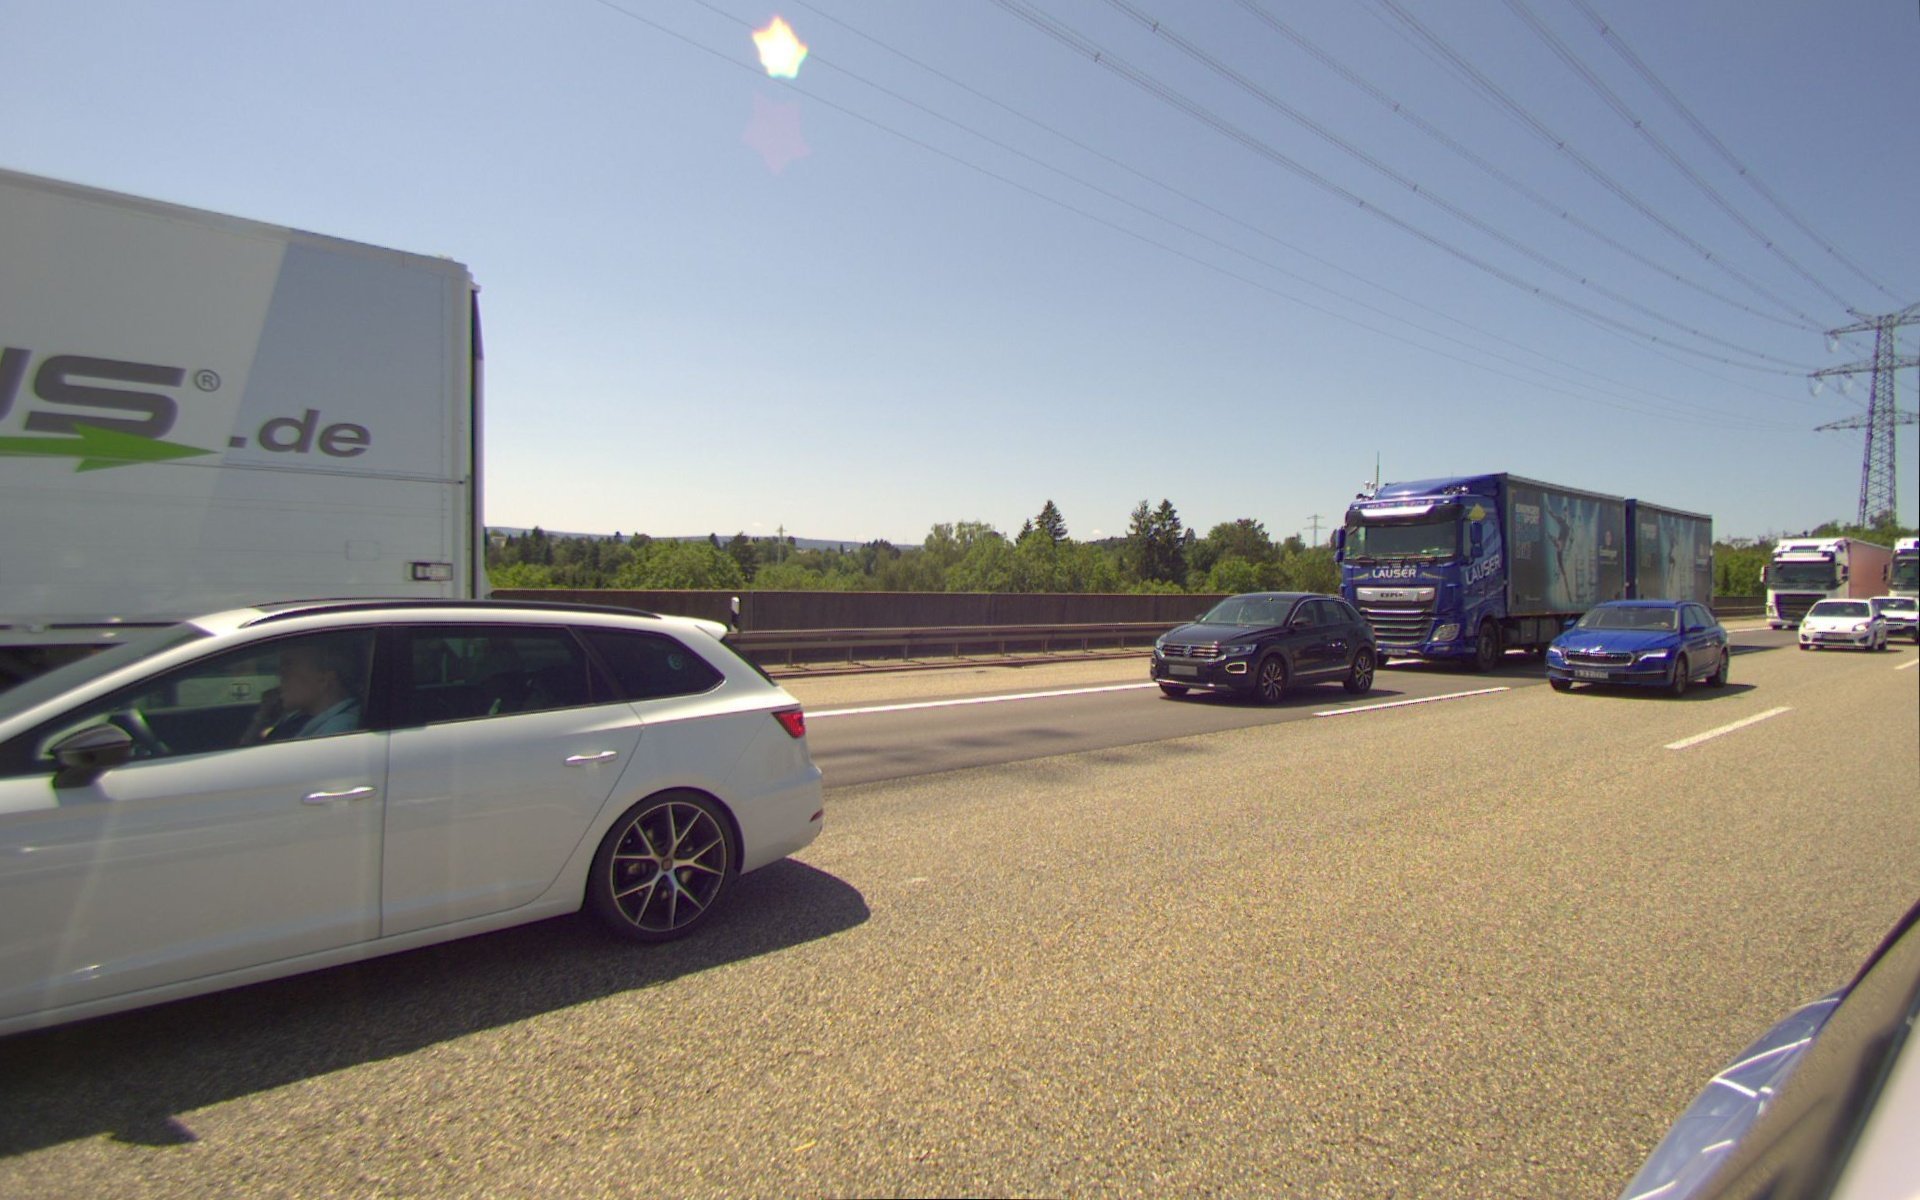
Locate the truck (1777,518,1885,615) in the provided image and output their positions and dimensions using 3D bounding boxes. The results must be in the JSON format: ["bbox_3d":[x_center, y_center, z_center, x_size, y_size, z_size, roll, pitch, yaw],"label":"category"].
[{"bbox_3d":[39.311,-1.434,45.573,8.122,4.038,2.606,-1,0,-42],"label":"truck"}]

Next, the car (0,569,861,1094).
[{"bbox_3d":[-2.655,0.647,4.007,4.352,1.470,1.711,0,0,-42],"label":"car"}]

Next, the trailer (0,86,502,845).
[{"bbox_3d":[-7.098,-0.685,5.311,8.072,3.940,2.903,-1,0,-42],"label":"trailer"}]

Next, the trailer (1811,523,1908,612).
[{"bbox_3d":[45.654,-1.584,51.270,8.928,4.170,2.606,-1,0,-42],"label":"trailer"}]

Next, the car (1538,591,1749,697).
[{"bbox_3d":[11.186,0.609,16.444,4.483,1.470,1.711,-1,0,-40],"label":"car"}]

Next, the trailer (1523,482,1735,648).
[{"bbox_3d":[19.344,-0.925,28.993,8.486,4.140,2.833,-1,0,-41],"label":"trailer"}]

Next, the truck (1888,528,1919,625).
[{"bbox_3d":[41.992,-0.997,42.861,8.117,3.874,2.848,-1,0,-39],"label":"truck"}]

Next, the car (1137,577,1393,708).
[{"bbox_3d":[4.594,0.519,14.971,4.045,1.675,1.711,-1,0,-40],"label":"car"}]

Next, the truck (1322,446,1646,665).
[{"bbox_3d":[12.190,-0.882,22.865,10.211,3.999,2.857,-1,0,-40],"label":"truck"}]

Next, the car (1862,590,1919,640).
[{"bbox_3d":[30.946,0.440,33.033,4.071,1.529,1.711,-1,0,-40],"label":"car"}]

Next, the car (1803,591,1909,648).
[{"bbox_3d":[25.488,0.494,28.744,4.071,1.470,1.711,-1,0,-40],"label":"car"}]
